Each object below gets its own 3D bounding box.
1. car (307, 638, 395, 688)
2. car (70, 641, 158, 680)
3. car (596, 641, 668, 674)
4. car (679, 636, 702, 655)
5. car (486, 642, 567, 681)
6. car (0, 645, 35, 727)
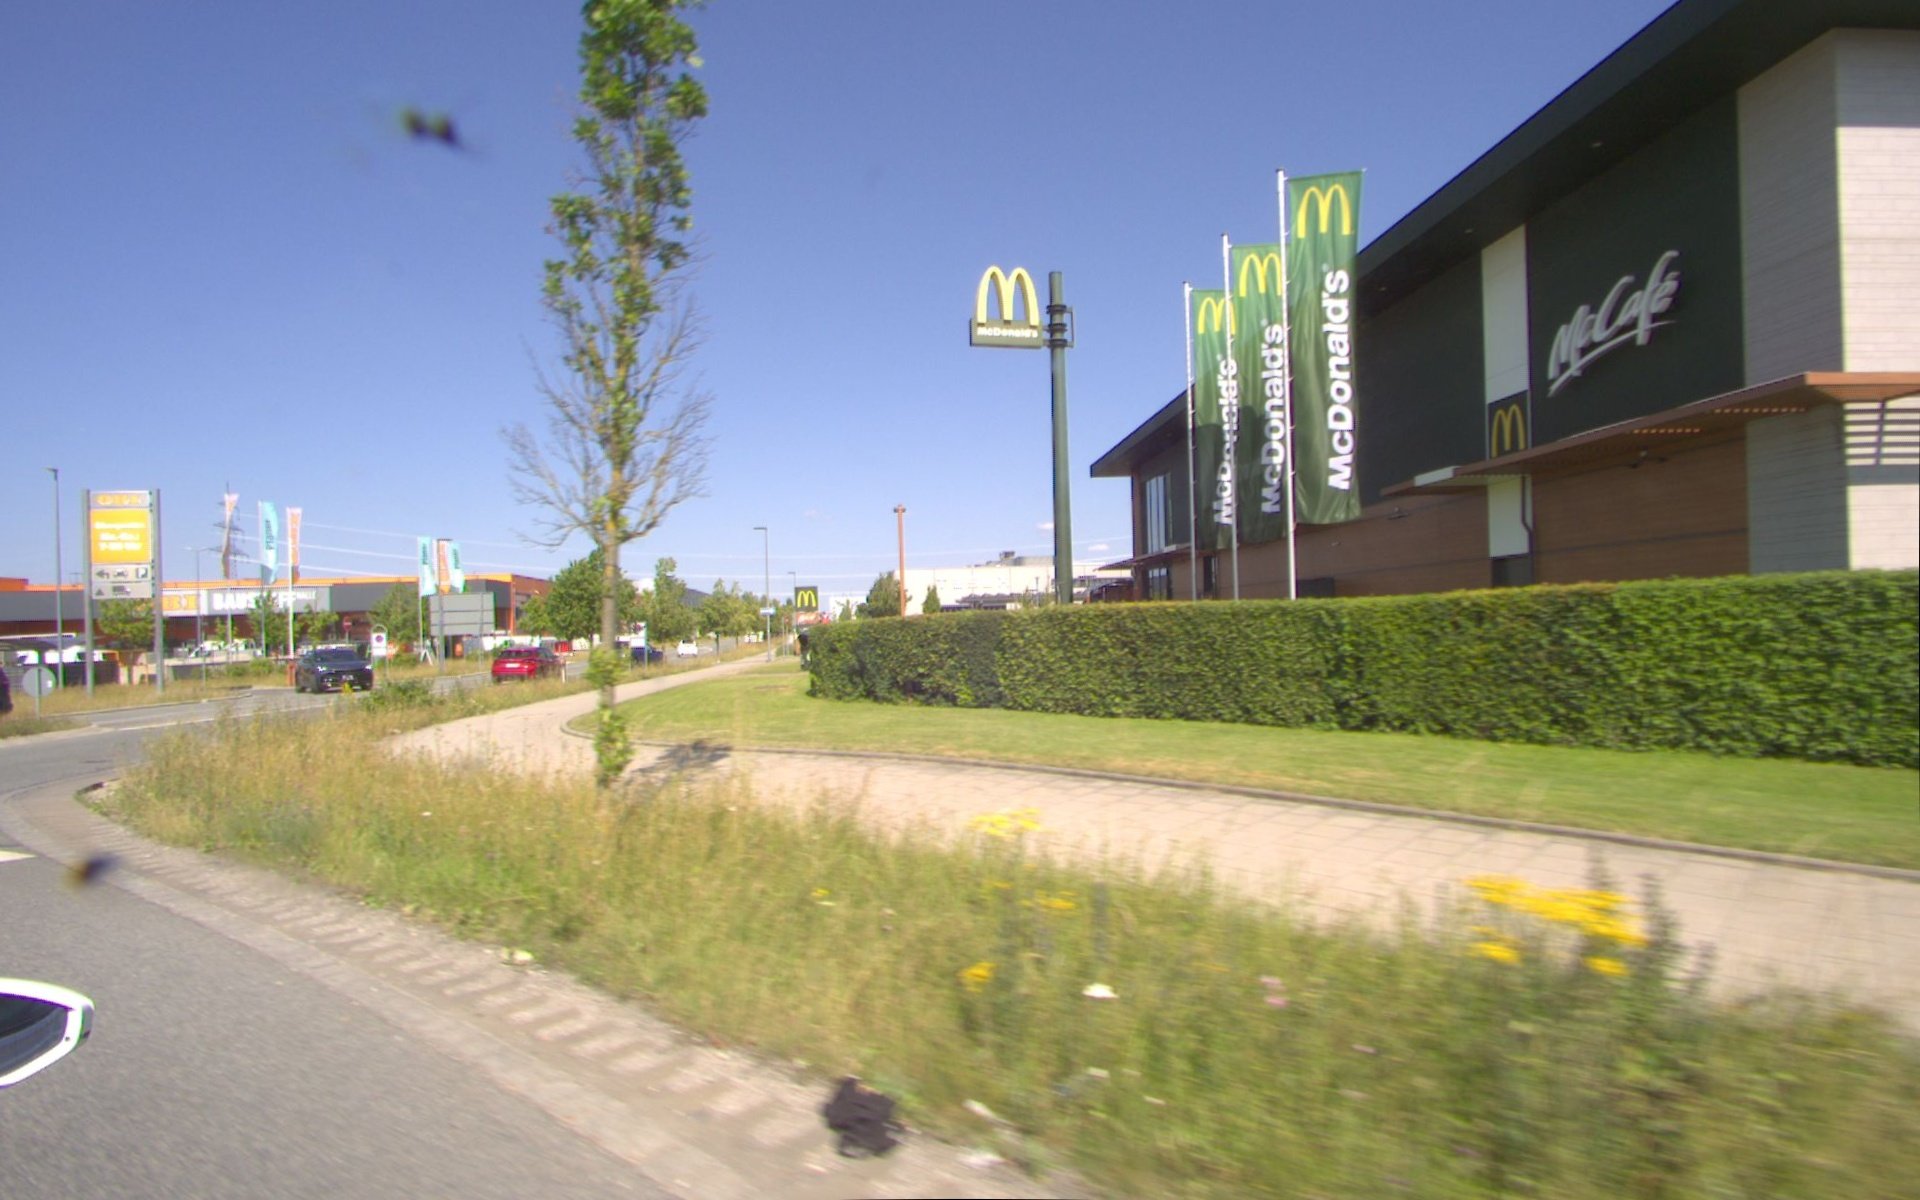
[{"bbox_3d":[-22.814,2.320,37.698,2.044,1.647,4.685,-2,-1,-23],"label":"car"},{"bbox_3d":[-42.910,3.090,50.890,1.668,1.863,3.776,-1,-3,-9],"label":"car"},{"bbox_3d":[-17.209,2.981,52.732,1.822,1.656,4.080,-1,-2,11],"label":"car"},{"bbox_3d":[-22.346,3.770,83.069,1.485,1.459,3.350,-1,-1,-9],"label":"car"},{"bbox_3d":[-17.262,2.412,40.092,1.773,1.434,4.118,0,-2,-5],"label":"car"},{"bbox_3d":[-21.202,1.823,19.659,1.919,1.728,4.628,-3,-1,-4],"label":"car"}]
